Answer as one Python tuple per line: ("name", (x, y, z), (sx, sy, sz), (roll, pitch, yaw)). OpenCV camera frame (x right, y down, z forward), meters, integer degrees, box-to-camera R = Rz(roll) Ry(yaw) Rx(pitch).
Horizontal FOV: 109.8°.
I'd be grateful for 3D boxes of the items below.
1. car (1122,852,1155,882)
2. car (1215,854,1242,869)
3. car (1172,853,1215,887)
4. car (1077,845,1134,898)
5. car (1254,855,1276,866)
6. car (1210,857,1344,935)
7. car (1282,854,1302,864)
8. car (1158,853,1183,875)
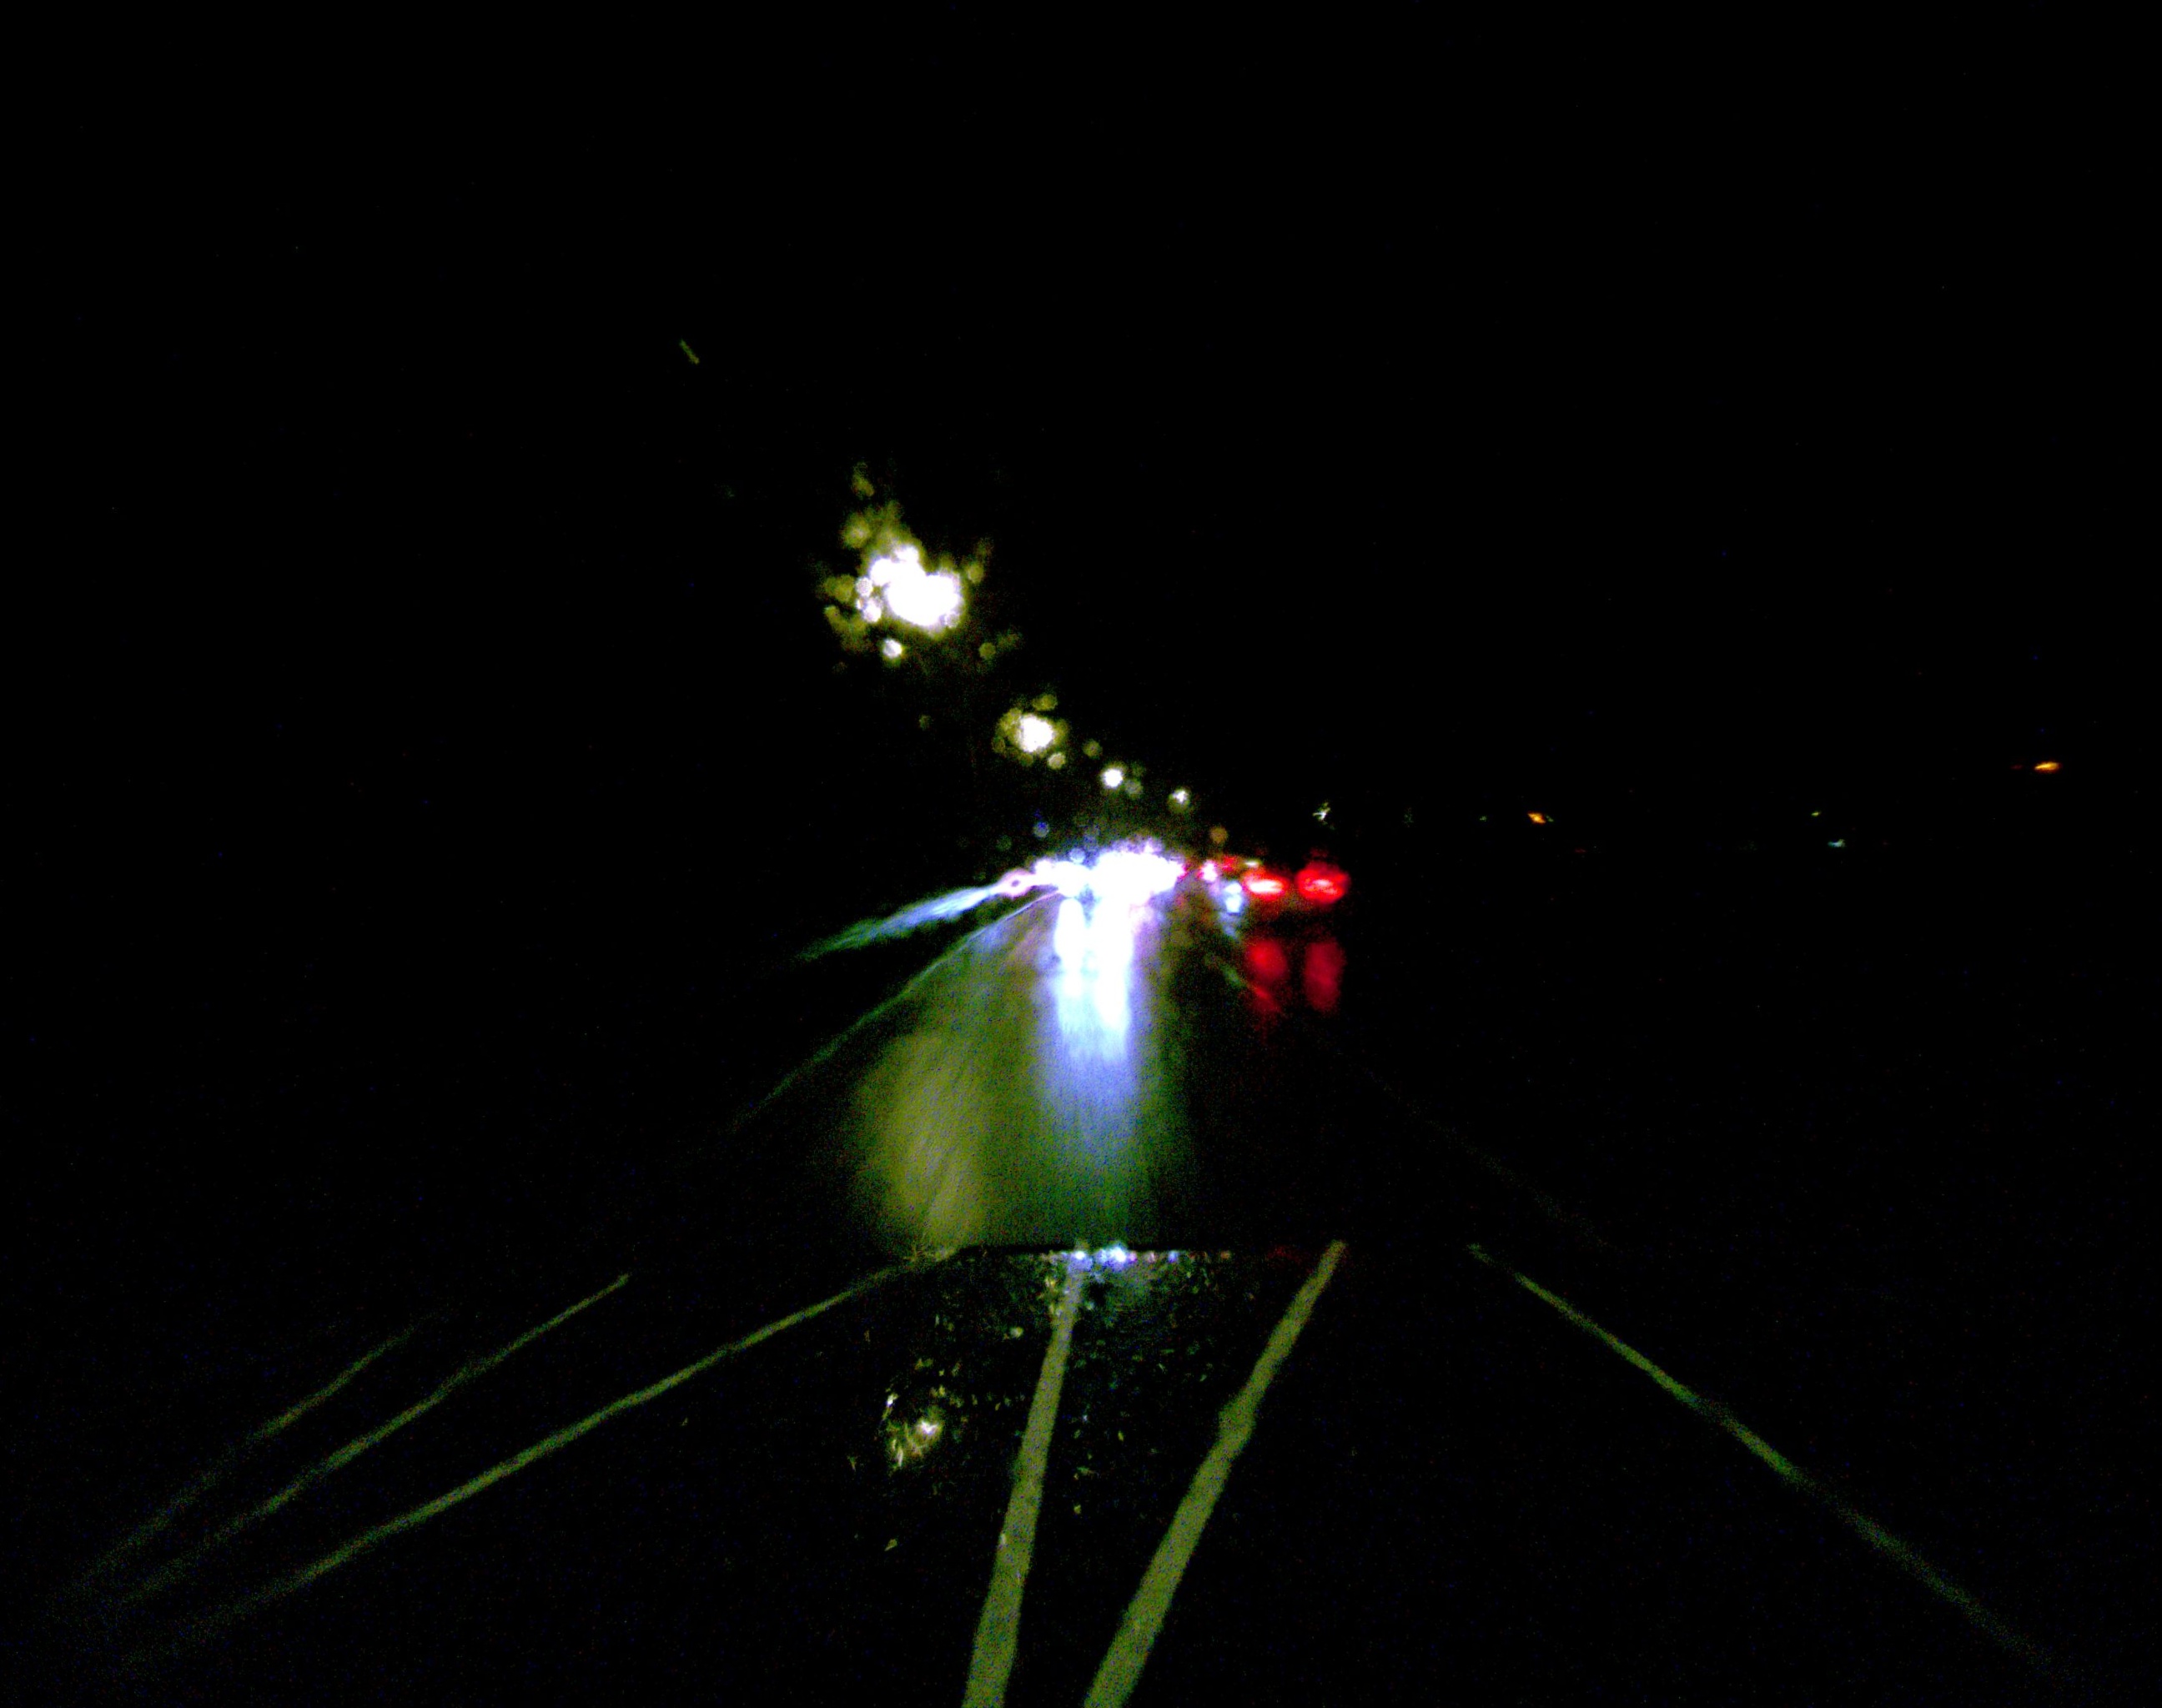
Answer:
("car", (3.871, 0.865, 50.945), (1.997, 1.922, 4.002), (-1, 0, 7))
("car", (14.567, 0.734, 74.749), (1.794, 1.384, 4.598), (0, 1, 22))
("car", (5.294, 0.716, 36.152), (1.621, 1.470, 4.047), (-1, 0, 3))
("car", (1.027, 0.628, 29.162), (1.935, 1.861, 4.001), (-1, 0, 5))
("car", (25.683, 0.848, 106.045), (1.995, 1.475, 4.008), (-1, 0, 29))
("car", (4.141, 0.809, 16.768), (1.764, 1.423, 4.327), (-2, 0, 0))
("car", (28.830, 0.643, 103.885), (1.730, 1.396, 3.870), (-1, 0, 30))
("car", (8.385, 0.908, 70.801), (1.997, 1.922, 4.004), (-1, 0, 12))
